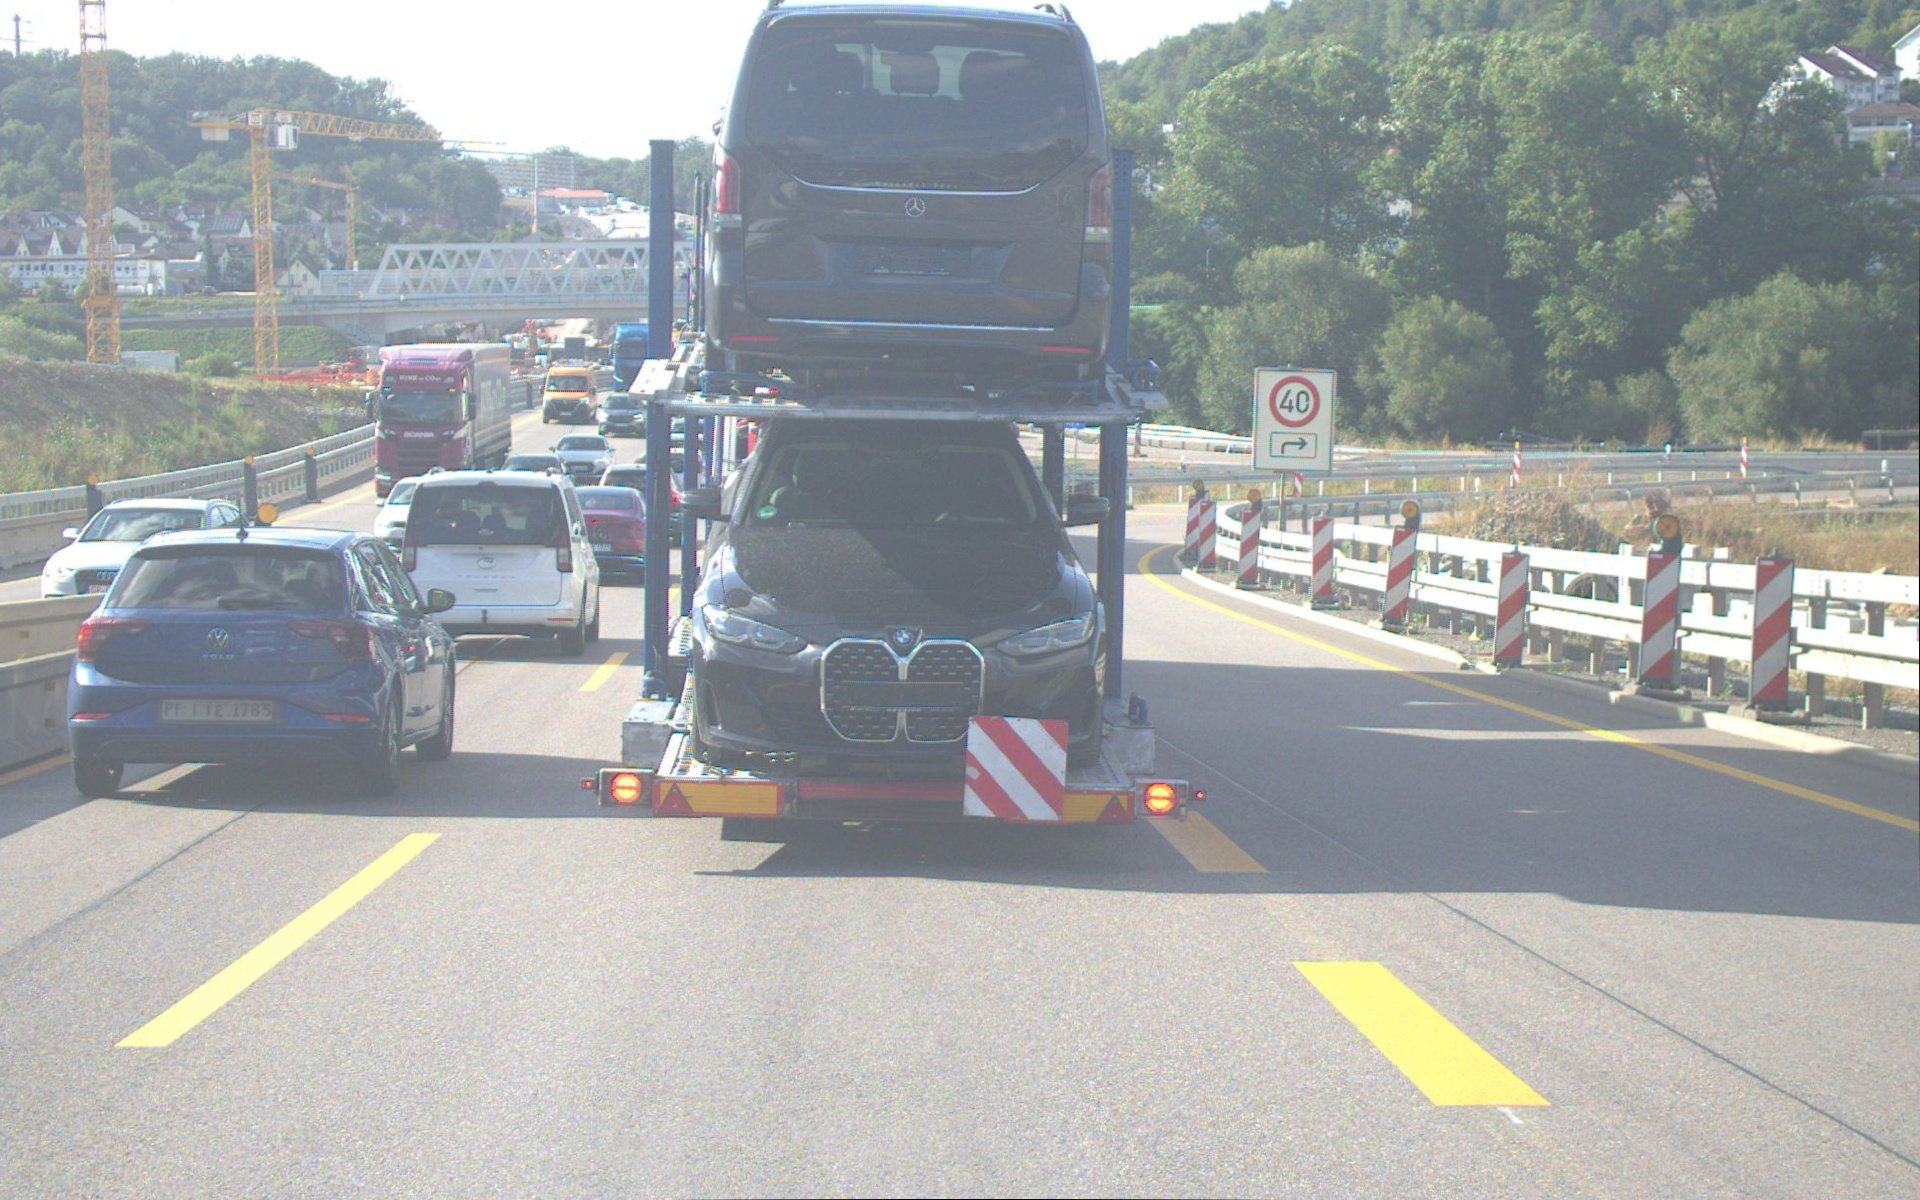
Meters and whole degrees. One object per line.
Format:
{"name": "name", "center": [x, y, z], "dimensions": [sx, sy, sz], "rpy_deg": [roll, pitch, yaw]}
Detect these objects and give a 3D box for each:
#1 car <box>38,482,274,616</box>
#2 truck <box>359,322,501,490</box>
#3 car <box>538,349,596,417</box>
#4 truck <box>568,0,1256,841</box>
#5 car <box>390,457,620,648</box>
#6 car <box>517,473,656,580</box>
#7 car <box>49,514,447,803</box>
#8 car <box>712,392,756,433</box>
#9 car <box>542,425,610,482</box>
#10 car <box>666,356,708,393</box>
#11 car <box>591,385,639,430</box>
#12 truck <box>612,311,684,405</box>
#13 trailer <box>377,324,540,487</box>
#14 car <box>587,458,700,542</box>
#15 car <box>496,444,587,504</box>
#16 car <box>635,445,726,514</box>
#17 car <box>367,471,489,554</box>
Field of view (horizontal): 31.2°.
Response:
{"name": "car", "center": [-9.296, -0.623, 40.085], "dimensions": [1.852, 1.435, 4.559], "rpy_deg": [1, 2, -2]}
{"name": "truck", "center": [-14.607, -5.297, 95.165], "dimensions": [2.914, 4.372, 6.287], "rpy_deg": [2, 2, -1]}
{"name": "car", "center": [-17.125, -9.450, 150.036], "dimensions": [1.993, 2.869, 6.066], "rpy_deg": [1, 3, -2]}
{"name": "truck", "center": [-0.632, -1.159, 23.776], "dimensions": [2.753, 3.941, 18.892], "rpy_deg": [2, 1, -3]}
{"name": "car", "center": [-4.534, -0.462, 34.800], "dimensions": [1.823, 1.786, 4.000], "rpy_deg": [1, 0, -1]}
{"name": "car", "center": [-5.747, -1.111, 53.357], "dimensions": [1.993, 1.551, 4.402], "rpy_deg": [1, 0, -4]}
{"name": "car", "center": [-3.954, 0.255, 19.669], "dimensions": [1.721, 1.417, 4.001], "rpy_deg": [1, 2, -4]}
{"name": "car", "center": [-9.877, -8.181, 150.286], "dimensions": [1.844, 1.642, 4.506], "rpy_deg": [1, 2, -5]}
{"name": "car", "center": [-11.603, -4.420, 104.106], "dimensions": [1.844, 1.642, 4.506], "rpy_deg": [1, 2, -4]}
{"name": "car", "center": [-14.654, -12.074, 184.463], "dimensions": [1.993, 1.678, 4.000], "rpy_deg": [1, 0, -1]}
{"name": "car", "center": [-13.811, -7.679, 137.653], "dimensions": [1.844, 1.642, 4.238], "rpy_deg": [1, 2, -5]}
{"name": "truck", "center": [-18.695, -14.456, 206.720], "dimensions": [2.822, 4.772, 13.054], "rpy_deg": [1, 0, 1]}
{"name": "trailer", "center": [-14.770, -5.628, 102.361], "dimensions": [2.976, 4.407, 13.818], "rpy_deg": [2, 2, -1]}
{"name": "car", "center": [-6.294, -1.971, 68.698], "dimensions": [1.993, 1.547, 4.000], "rpy_deg": [1, 0, -2]}
{"name": "car", "center": [-10.447, -3.128, 86.047], "dimensions": [1.821, 1.435, 4.614], "rpy_deg": [1, 2, -2]}
{"name": "car", "center": [-6.993, -3.038, 86.338], "dimensions": [1.993, 1.660, 4.001], "rpy_deg": [1, 2, -1]}
{"name": "car", "center": [-9.591, -1.586, 62.162], "dimensions": [1.754, 1.435, 3.805], "rpy_deg": [1, 2, -2]}
